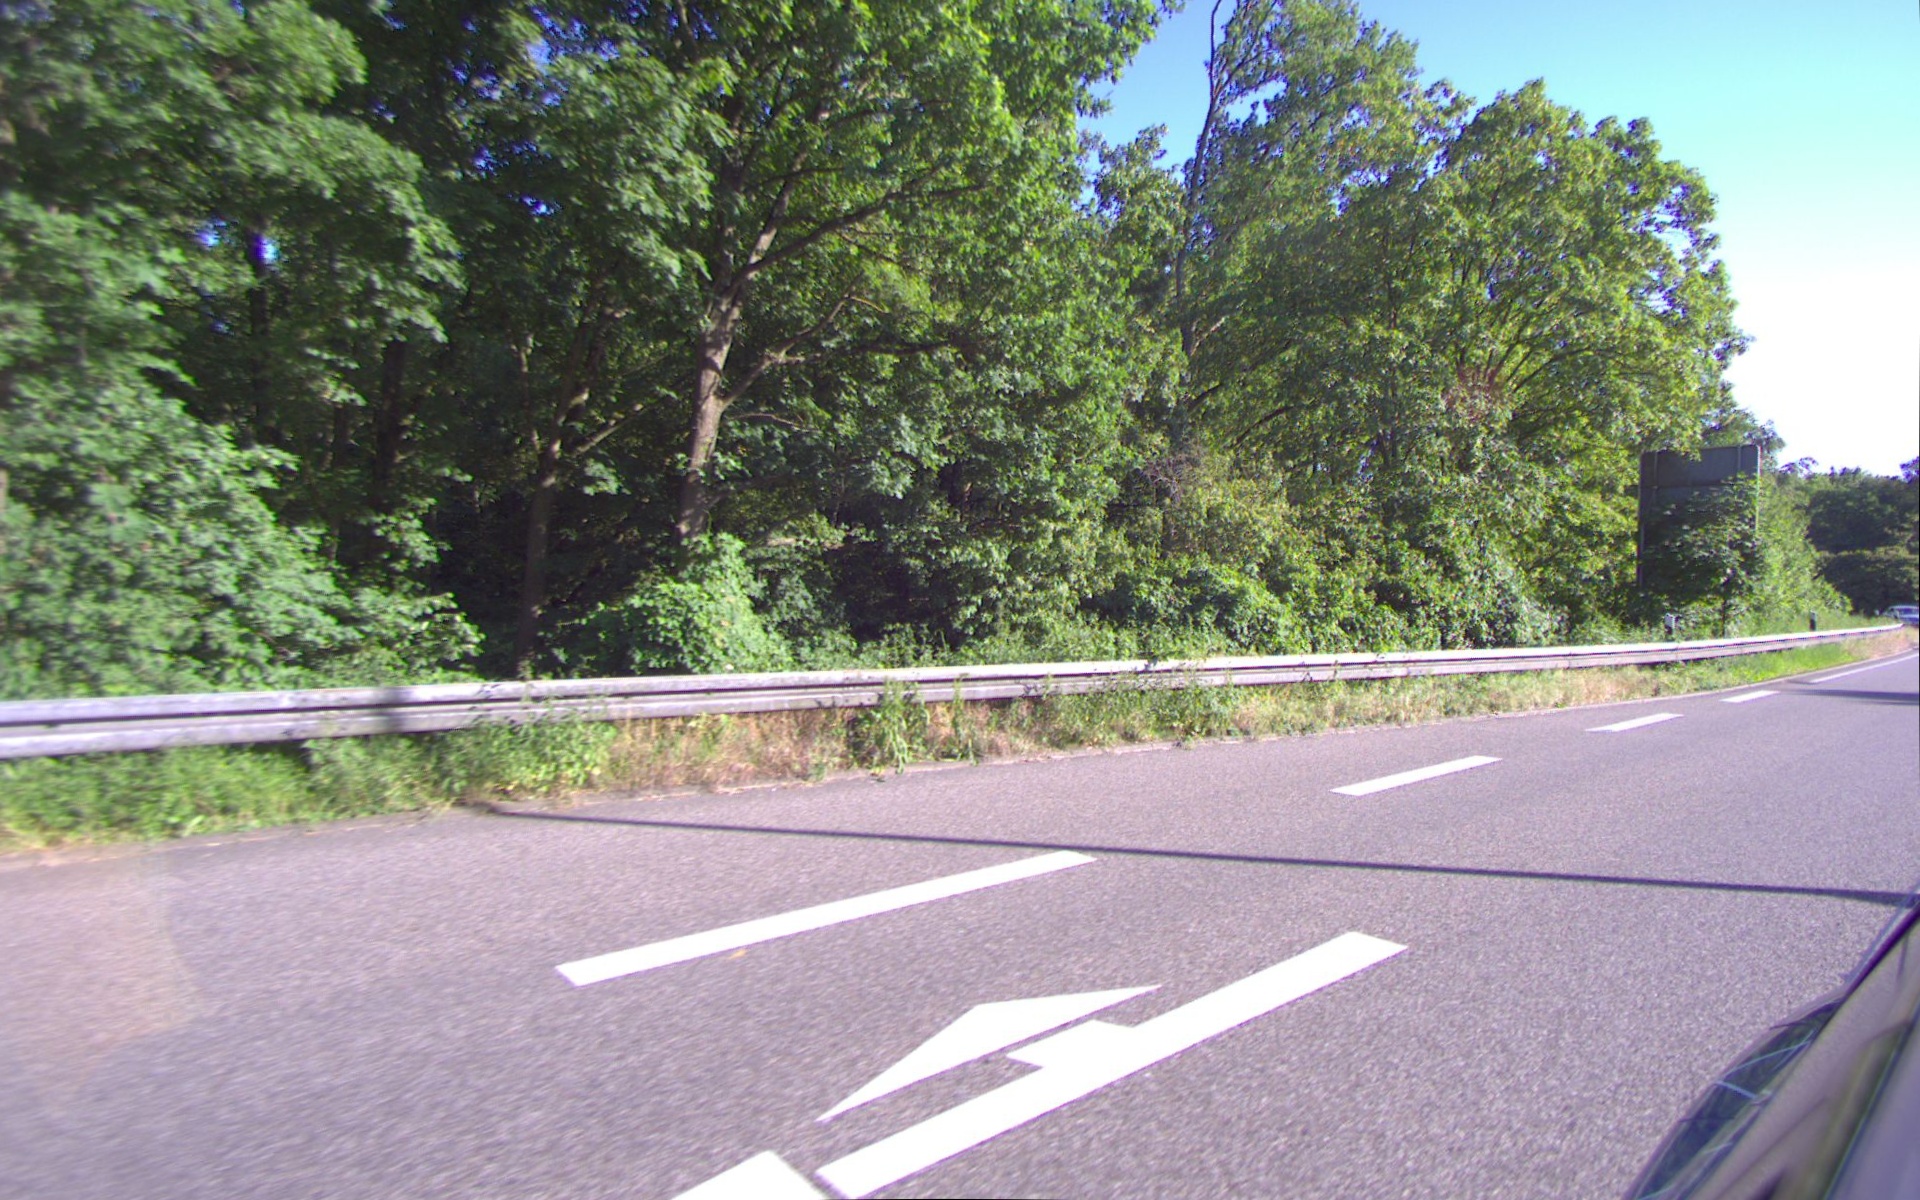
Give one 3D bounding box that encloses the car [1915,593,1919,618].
[{"bbox_3d":[60.372,0.379,62.513,3.331,1.504,1.680,1,2,-42],"label":"car"}]
